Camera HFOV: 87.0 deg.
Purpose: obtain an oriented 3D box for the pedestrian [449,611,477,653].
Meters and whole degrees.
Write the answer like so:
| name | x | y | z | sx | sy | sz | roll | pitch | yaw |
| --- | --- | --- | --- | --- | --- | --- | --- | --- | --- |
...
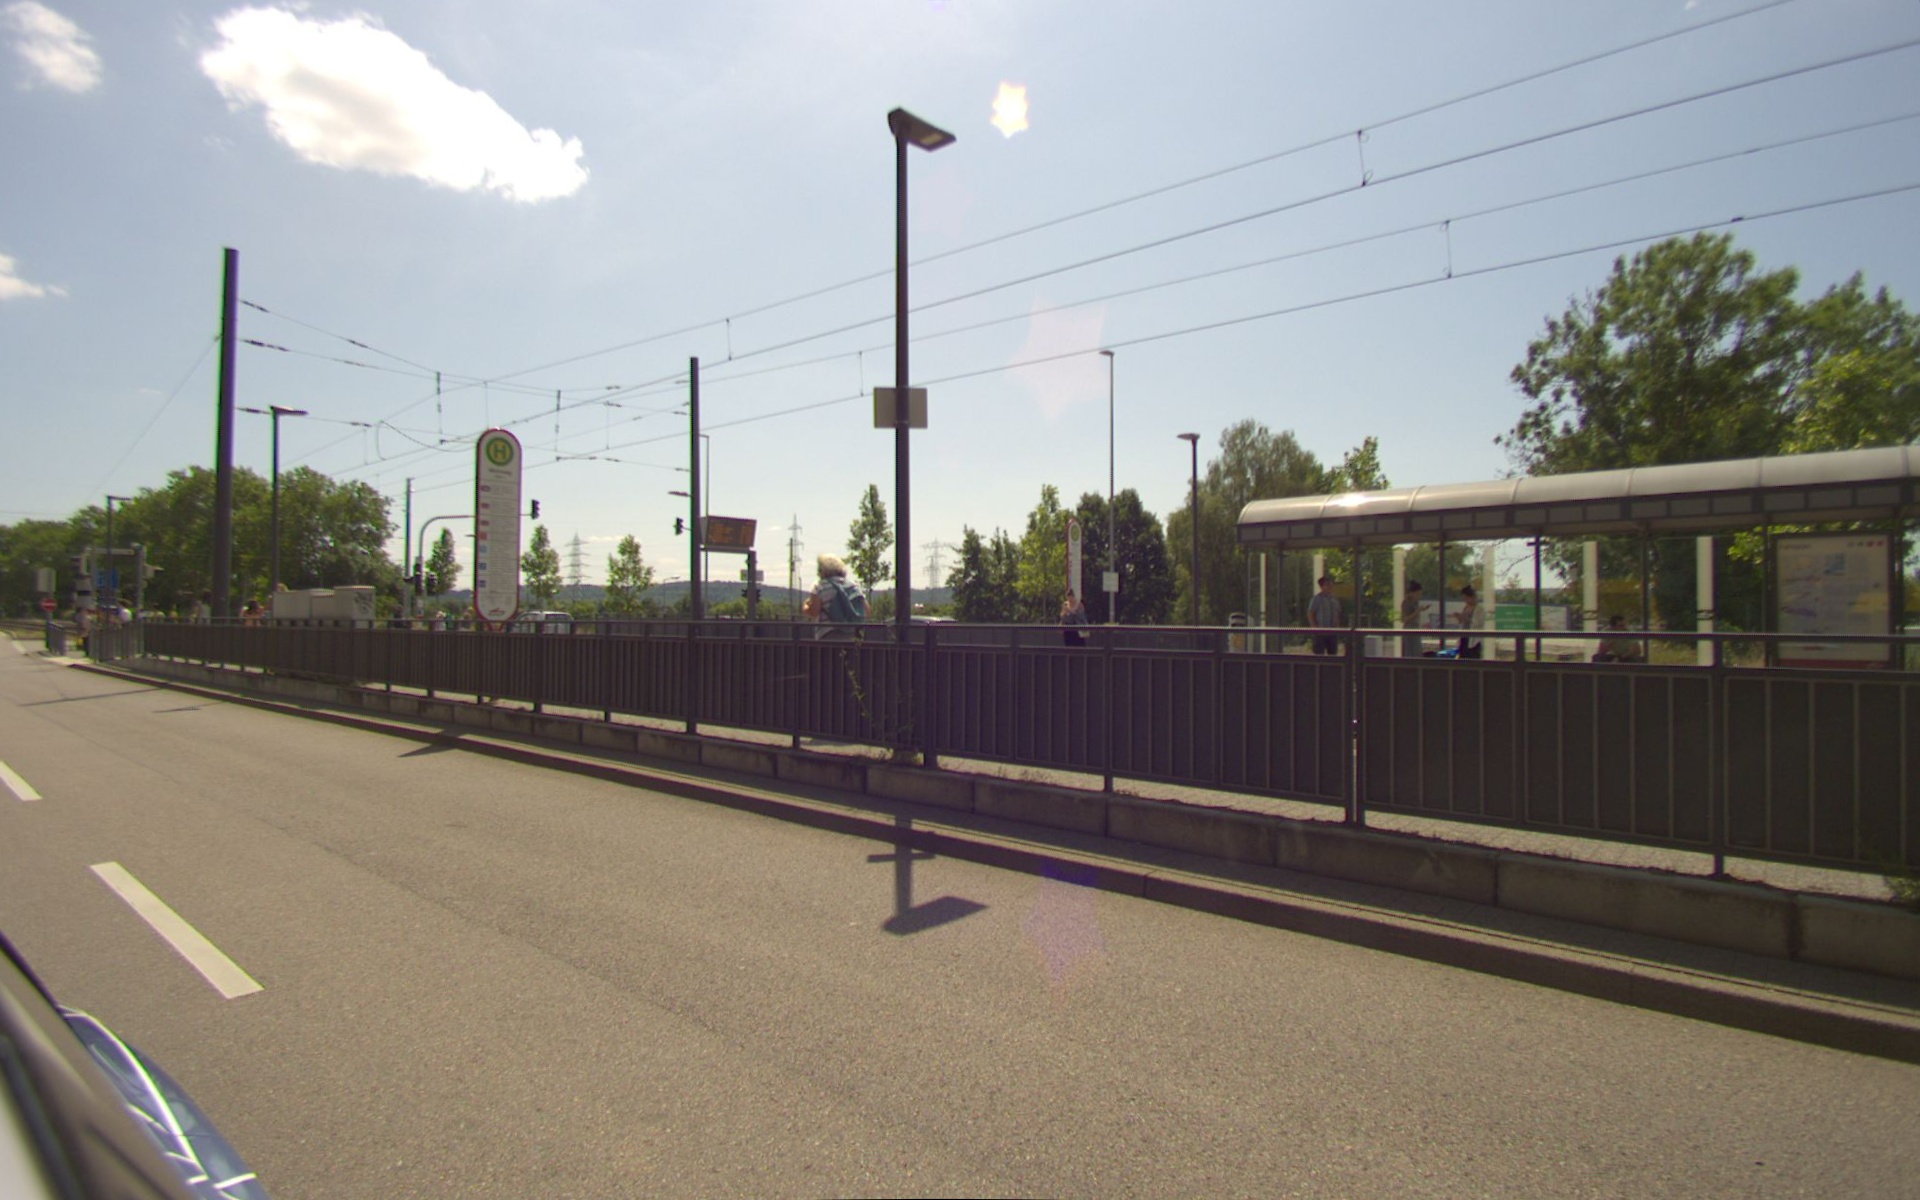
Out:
| name | x | y | z | sx | sy | sz | roll | pitch | yaw |
| --- | --- | --- | --- | --- | --- | --- | --- | --- | --- |
| pedestrian | -20.211 | 1.297 | 41.154 | 0.763 | 1.685 | 0.754 | -1 | -1 | 39 |

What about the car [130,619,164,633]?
| name | x | y | z | sx | sy | sz | roll | pitch | yaw |
| --- | --- | --- | --- | --- | --- | --- | --- | --- | --- |
| car | -82.808 | 2.632 | 103.061 | 4.276 | 1.474 | 1.973 | -1 | -2 | 40 |

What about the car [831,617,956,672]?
| name | x | y | z | sx | sy | sz | roll | pitch | yaw |
| --- | --- | --- | --- | --- | --- | --- | --- | --- | --- |
| car | -2.254 | 1.436 | 33.825 | 3.999 | 1.641 | 1.972 | 0 | 1 | 42 |

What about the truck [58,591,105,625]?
| name | x | y | z | sx | sy | sz | roll | pitch | yaw |
| --- | --- | --- | --- | --- | --- | --- | --- | --- | --- |
| truck | -108.189 | 1.000 | 124.555 | 7.467 | 4.069 | 3.095 | 0 | 0 | 39 |

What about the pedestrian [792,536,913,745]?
| name | x | y | z | sx | sy | sz | roll | pitch | yaw |
| --- | --- | --- | --- | --- | --- | --- | --- | --- | --- |
| pedestrian | -0.918 | 0.328 | 8.652 | 0.742 | 1.678 | 0.725 | -1 | -1 | 41 |

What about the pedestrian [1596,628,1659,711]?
| name | x | y | z | sx | sy | sz | roll | pitch | yaw |
| --- | --- | --- | --- | --- | --- | --- | --- | --- | --- |
| pedestrian | 9.206 | 0.941 | 13.964 | 0.639 | 1.103 | 0.570 | -1 | -2 | 42 |

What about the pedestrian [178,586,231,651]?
| name | x | y | z | sx | sy | sz | roll | pitch | yaw |
| --- | --- | --- | --- | --- | --- | --- | --- | --- | --- |
| pedestrian | -19.299 | 0.470 | 25.852 | 0.923 | 1.617 | 0.881 | -1 | -1 | 41 |

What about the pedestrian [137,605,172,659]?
| name | x | y | z | sx | sy | sz | roll | pitch | yaw |
| --- | --- | --- | --- | --- | --- | --- | --- | --- | --- |
| pedestrian | -25.720 | 1.014 | 32.317 | 0.678 | 1.685 | 0.725 | -1 | -1 | 39 |

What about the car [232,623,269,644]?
| name | x | y | z | sx | sy | sz | roll | pitch | yaw |
| --- | --- | --- | --- | --- | --- | --- | --- | --- | --- |
| car | -56.493 | 2.650 | 80.560 | 1.969 | 1.642 | 4.315 | 1 | -2 | -41 |

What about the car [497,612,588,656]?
| name | x | y | z | sx | sy | sz | roll | pitch | yaw |
| --- | --- | --- | --- | --- | --- | --- | --- | --- | --- |
| car | -17.109 | 1.345 | 41.369 | 4.000 | 1.641 | 1.972 | 0 | 0 | 43 |

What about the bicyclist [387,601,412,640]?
| name | x | y | z | sx | sy | sz | roll | pitch | yaw |
| --- | --- | --- | --- | --- | --- | --- | --- | --- | --- |
| bicyclist | -23.638 | 0.847 | 42.685 | 0.729 | 1.627 | 0.660 | 0 | 0 | 26 |

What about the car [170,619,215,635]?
| name | x | y | z | sx | sy | sz | roll | pitch | yaw |
| --- | --- | --- | --- | --- | --- | --- | --- | --- | --- |
| car | -68.514 | 2.391 | 90.316 | 4.339 | 1.456 | 1.976 | -1 | -1 | 35 |

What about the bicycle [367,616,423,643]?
| name | x | y | z | sx | sy | sz | roll | pitch | yaw |
| --- | --- | --- | --- | --- | --- | --- | --- | --- | --- |
| bicycle | -23.713 | 1.225 | 42.524 | 0.760 | 1.109 | 1.960 | 0 | 0 | 26 |

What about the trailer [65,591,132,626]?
| name | x | y | z | sx | sy | sz | roll | pitch | yaw |
| --- | --- | --- | --- | --- | --- | --- | --- | --- | --- |
| trailer | -101.699 | 1.035 | 119.306 | 15.463 | 3.900 | 3.085 | 0 | -1 | 39 |

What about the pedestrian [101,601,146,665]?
| name | x | y | z | sx | sy | sz | roll | pitch | yaw |
| --- | --- | --- | --- | --- | --- | --- | --- | --- | --- |
| pedestrian | -24.567 | 0.954 | 29.719 | 0.882 | 1.816 | 0.854 | -1 | -1 | 38 |

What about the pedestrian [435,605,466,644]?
| name | x | y | z | sx | sy | sz | roll | pitch | yaw |
| --- | --- | --- | --- | --- | --- | --- | --- | --- | --- |
| pedestrian | -21.594 | 1.021 | 42.916 | 0.763 | 1.622 | 0.947 | -1 | -1 | 39 |

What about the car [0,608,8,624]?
| name | x | y | z | sx | sy | sz | roll | pitch | yaw |
| --- | --- | --- | --- | --- | --- | --- | --- | --- | --- |
| car | -156.777 | 2.503 | 164.897 | 1.971 | 1.852 | 4.435 | 9 | -16 | -44 |

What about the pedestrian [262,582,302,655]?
| name | x | y | z | sx | sy | sz | roll | pitch | yaw |
| --- | --- | --- | --- | --- | --- | --- | --- | --- | --- |
| pedestrian | -15.872 | 0.425 | 23.680 | 0.719 | 1.694 | 0.607 | 0 | 0 | 40 |

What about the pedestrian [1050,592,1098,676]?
| name | x | y | z | sx | sy | sz | roll | pitch | yaw |
| --- | --- | --- | --- | --- | --- | --- | --- | --- | --- |
| pedestrian | 2.290 | 0.679 | 20.299 | 0.804 | 1.650 | 0.552 | -1 | -1 | 35 |

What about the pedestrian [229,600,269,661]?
| name | x | y | z | sx | sy | sz | roll | pitch | yaw |
| --- | --- | --- | --- | --- | --- | --- | --- | --- | --- |
| pedestrian | -16.306 | 0.683 | 23.208 | 0.719 | 1.355 | 0.607 | 0 | 0 | 40 |

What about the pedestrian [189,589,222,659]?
| name | x | y | z | sx | sy | sz | roll | pitch | yaw |
| --- | --- | --- | --- | --- | --- | --- | --- | --- | --- |
| pedestrian | -17.457 | 0.546 | 23.411 | 0.556 | 1.590 | 0.492 | -1 | -1 | 40 |

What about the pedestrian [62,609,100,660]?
| name | x | y | z | sx | sy | sz | roll | pitch | yaw |
| --- | --- | --- | --- | --- | --- | --- | --- | --- | --- |
| pedestrian | -27.793 | 1.087 | 32.012 | 0.764 | 1.584 | 0.777 | -1 | -1 | 39 |

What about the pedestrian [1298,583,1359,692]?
| name | x | y | z | sx | sy | sz | roll | pitch | yaw |
| --- | --- | --- | --- | --- | --- | --- | --- | --- | --- |
| pedestrian | 6.006 | 0.614 | 16.531 | 0.726 | 1.742 | 0.579 | 0 | -1 | -11 |

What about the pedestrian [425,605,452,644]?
| name | x | y | z | sx | sy | sz | roll | pitch | yaw |
| --- | --- | --- | --- | --- | --- | --- | --- | --- | --- |
| pedestrian | -21.487 | 1.010 | 41.725 | 0.763 | 1.560 | 0.754 | -1 | -1 | 39 |

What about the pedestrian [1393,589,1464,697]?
| name | x | y | z | sx | sy | sz | roll | pitch | yaw |
| --- | --- | --- | --- | --- | --- | --- | --- | --- | --- |
| pedestrian | 7.334 | 0.661 | 15.853 | 0.814 | 1.651 | 0.579 | 0 | -1 | -11 |

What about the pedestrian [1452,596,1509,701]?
| name | x | y | z | sx | sy | sz | roll | pitch | yaw |
| --- | --- | --- | --- | --- | --- | --- | --- | --- | --- |
| pedestrian | 7.859 | 0.717 | 15.283 | 0.639 | 1.545 | 0.570 | -1 | -2 | 42 |
